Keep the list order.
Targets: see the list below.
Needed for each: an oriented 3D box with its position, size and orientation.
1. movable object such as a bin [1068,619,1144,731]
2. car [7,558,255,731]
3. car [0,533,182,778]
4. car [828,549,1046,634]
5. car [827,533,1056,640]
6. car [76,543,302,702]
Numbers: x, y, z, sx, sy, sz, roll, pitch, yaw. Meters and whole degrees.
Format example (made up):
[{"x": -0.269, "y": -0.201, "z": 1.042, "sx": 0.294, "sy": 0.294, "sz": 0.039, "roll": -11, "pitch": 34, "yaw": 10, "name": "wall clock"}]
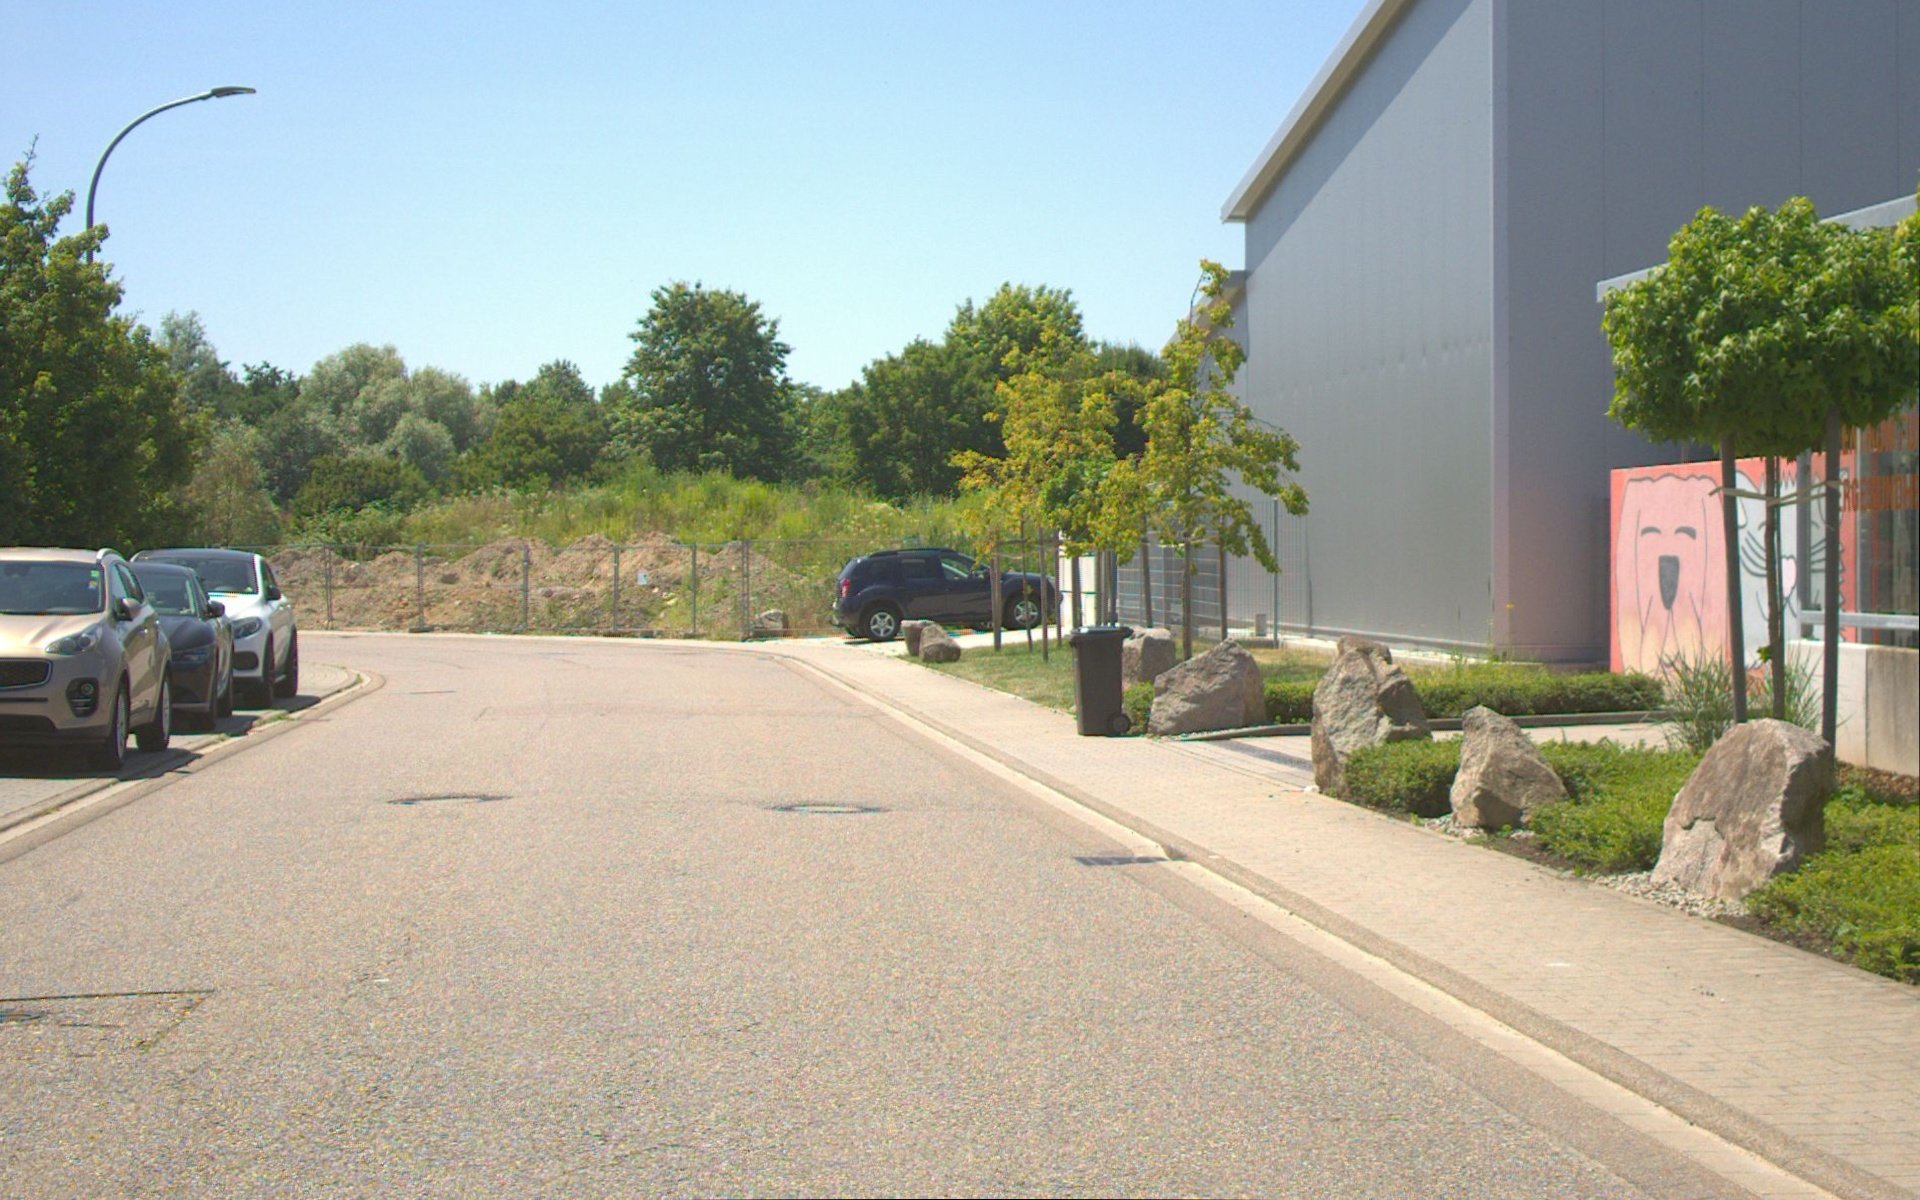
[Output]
[{"x": 1.255, "y": 0.643, "z": 29.677, "sx": 0.558, "sy": 0.943, "sz": 0.539, "roll": -1, "pitch": 1, "yaw": -7, "name": "movable object such as a bin"}, {"x": -7.895, "y": 0.374, "z": 33.083, "sx": 1.912, "sy": 1.486, "sz": 4.414, "roll": 1, "pitch": 1, "yaw": -8, "name": "car"}, {"x": -7.261, "y": 0.349, "z": 26.533, "sx": 1.912, "sy": 1.707, "sz": 4.414, "roll": 1, "pitch": 1, "yaw": -6, "name": "car"}, {"x": -0.476, "y": -0.179, "z": 66.967, "sx": 4.009, "sy": 1.457, "sz": 1.893, "roll": -3, "pitch": 1, "yaw": -6, "name": "car"}, {"x": -0.365, "y": -0.269, "z": 64.327, "sx": 4.009, "sy": 1.649, "sz": 1.858, "roll": -5, "pitch": 1, "yaw": -6, "name": "car"}, {"x": -8.594, "y": 0.199, "z": 38.686, "sx": 1.912, "sy": 1.650, "sz": 4.756, "roll": -1, "pitch": 1, "yaw": -6, "name": "car"}]
